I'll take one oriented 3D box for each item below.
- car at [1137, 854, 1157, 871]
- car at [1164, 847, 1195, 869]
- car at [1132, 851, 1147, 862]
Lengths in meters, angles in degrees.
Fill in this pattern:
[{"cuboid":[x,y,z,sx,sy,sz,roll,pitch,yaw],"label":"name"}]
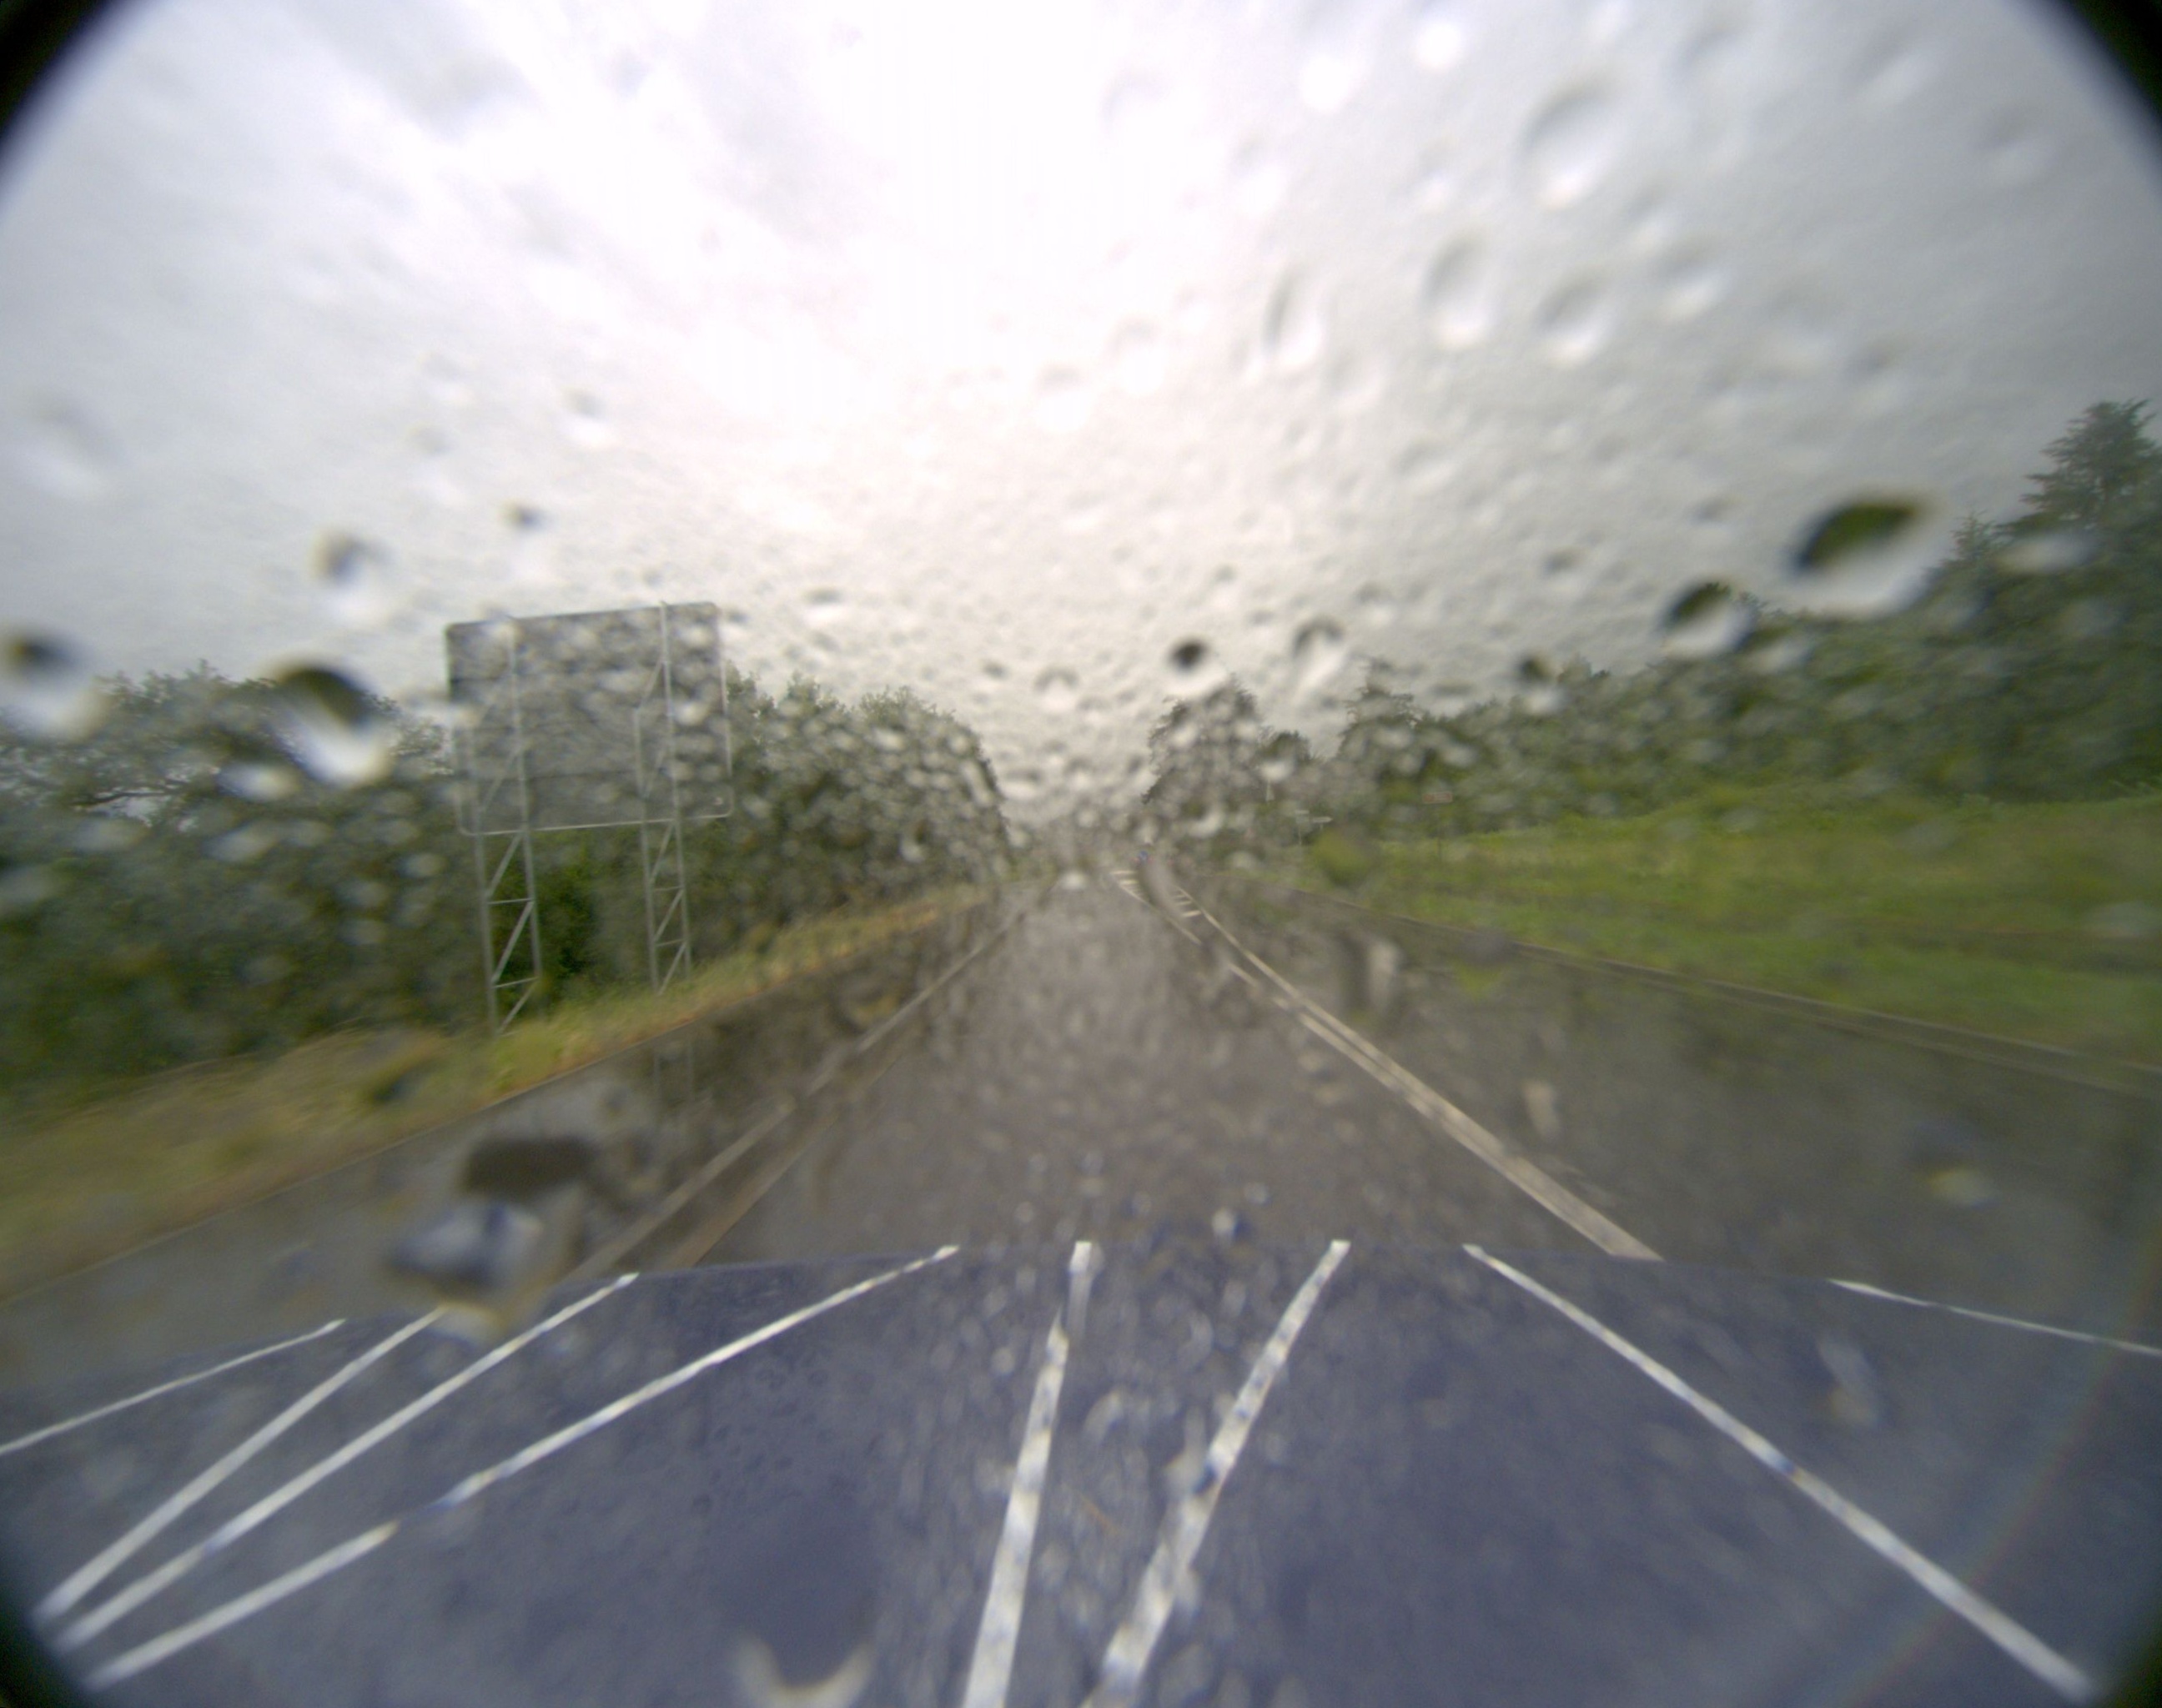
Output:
[{"cuboid":[6.975,0.845,80.518,1.745,1.708,4.267,-2,0,1],"label":"car"},{"cuboid":[6.815,0.253,52.808,1.701,1.394,3.767,-3,0,2],"label":"car"},{"cuboid":[8.291,0.358,108.639,1.746,1.437,3.682,-6,1,0],"label":"car"}]
